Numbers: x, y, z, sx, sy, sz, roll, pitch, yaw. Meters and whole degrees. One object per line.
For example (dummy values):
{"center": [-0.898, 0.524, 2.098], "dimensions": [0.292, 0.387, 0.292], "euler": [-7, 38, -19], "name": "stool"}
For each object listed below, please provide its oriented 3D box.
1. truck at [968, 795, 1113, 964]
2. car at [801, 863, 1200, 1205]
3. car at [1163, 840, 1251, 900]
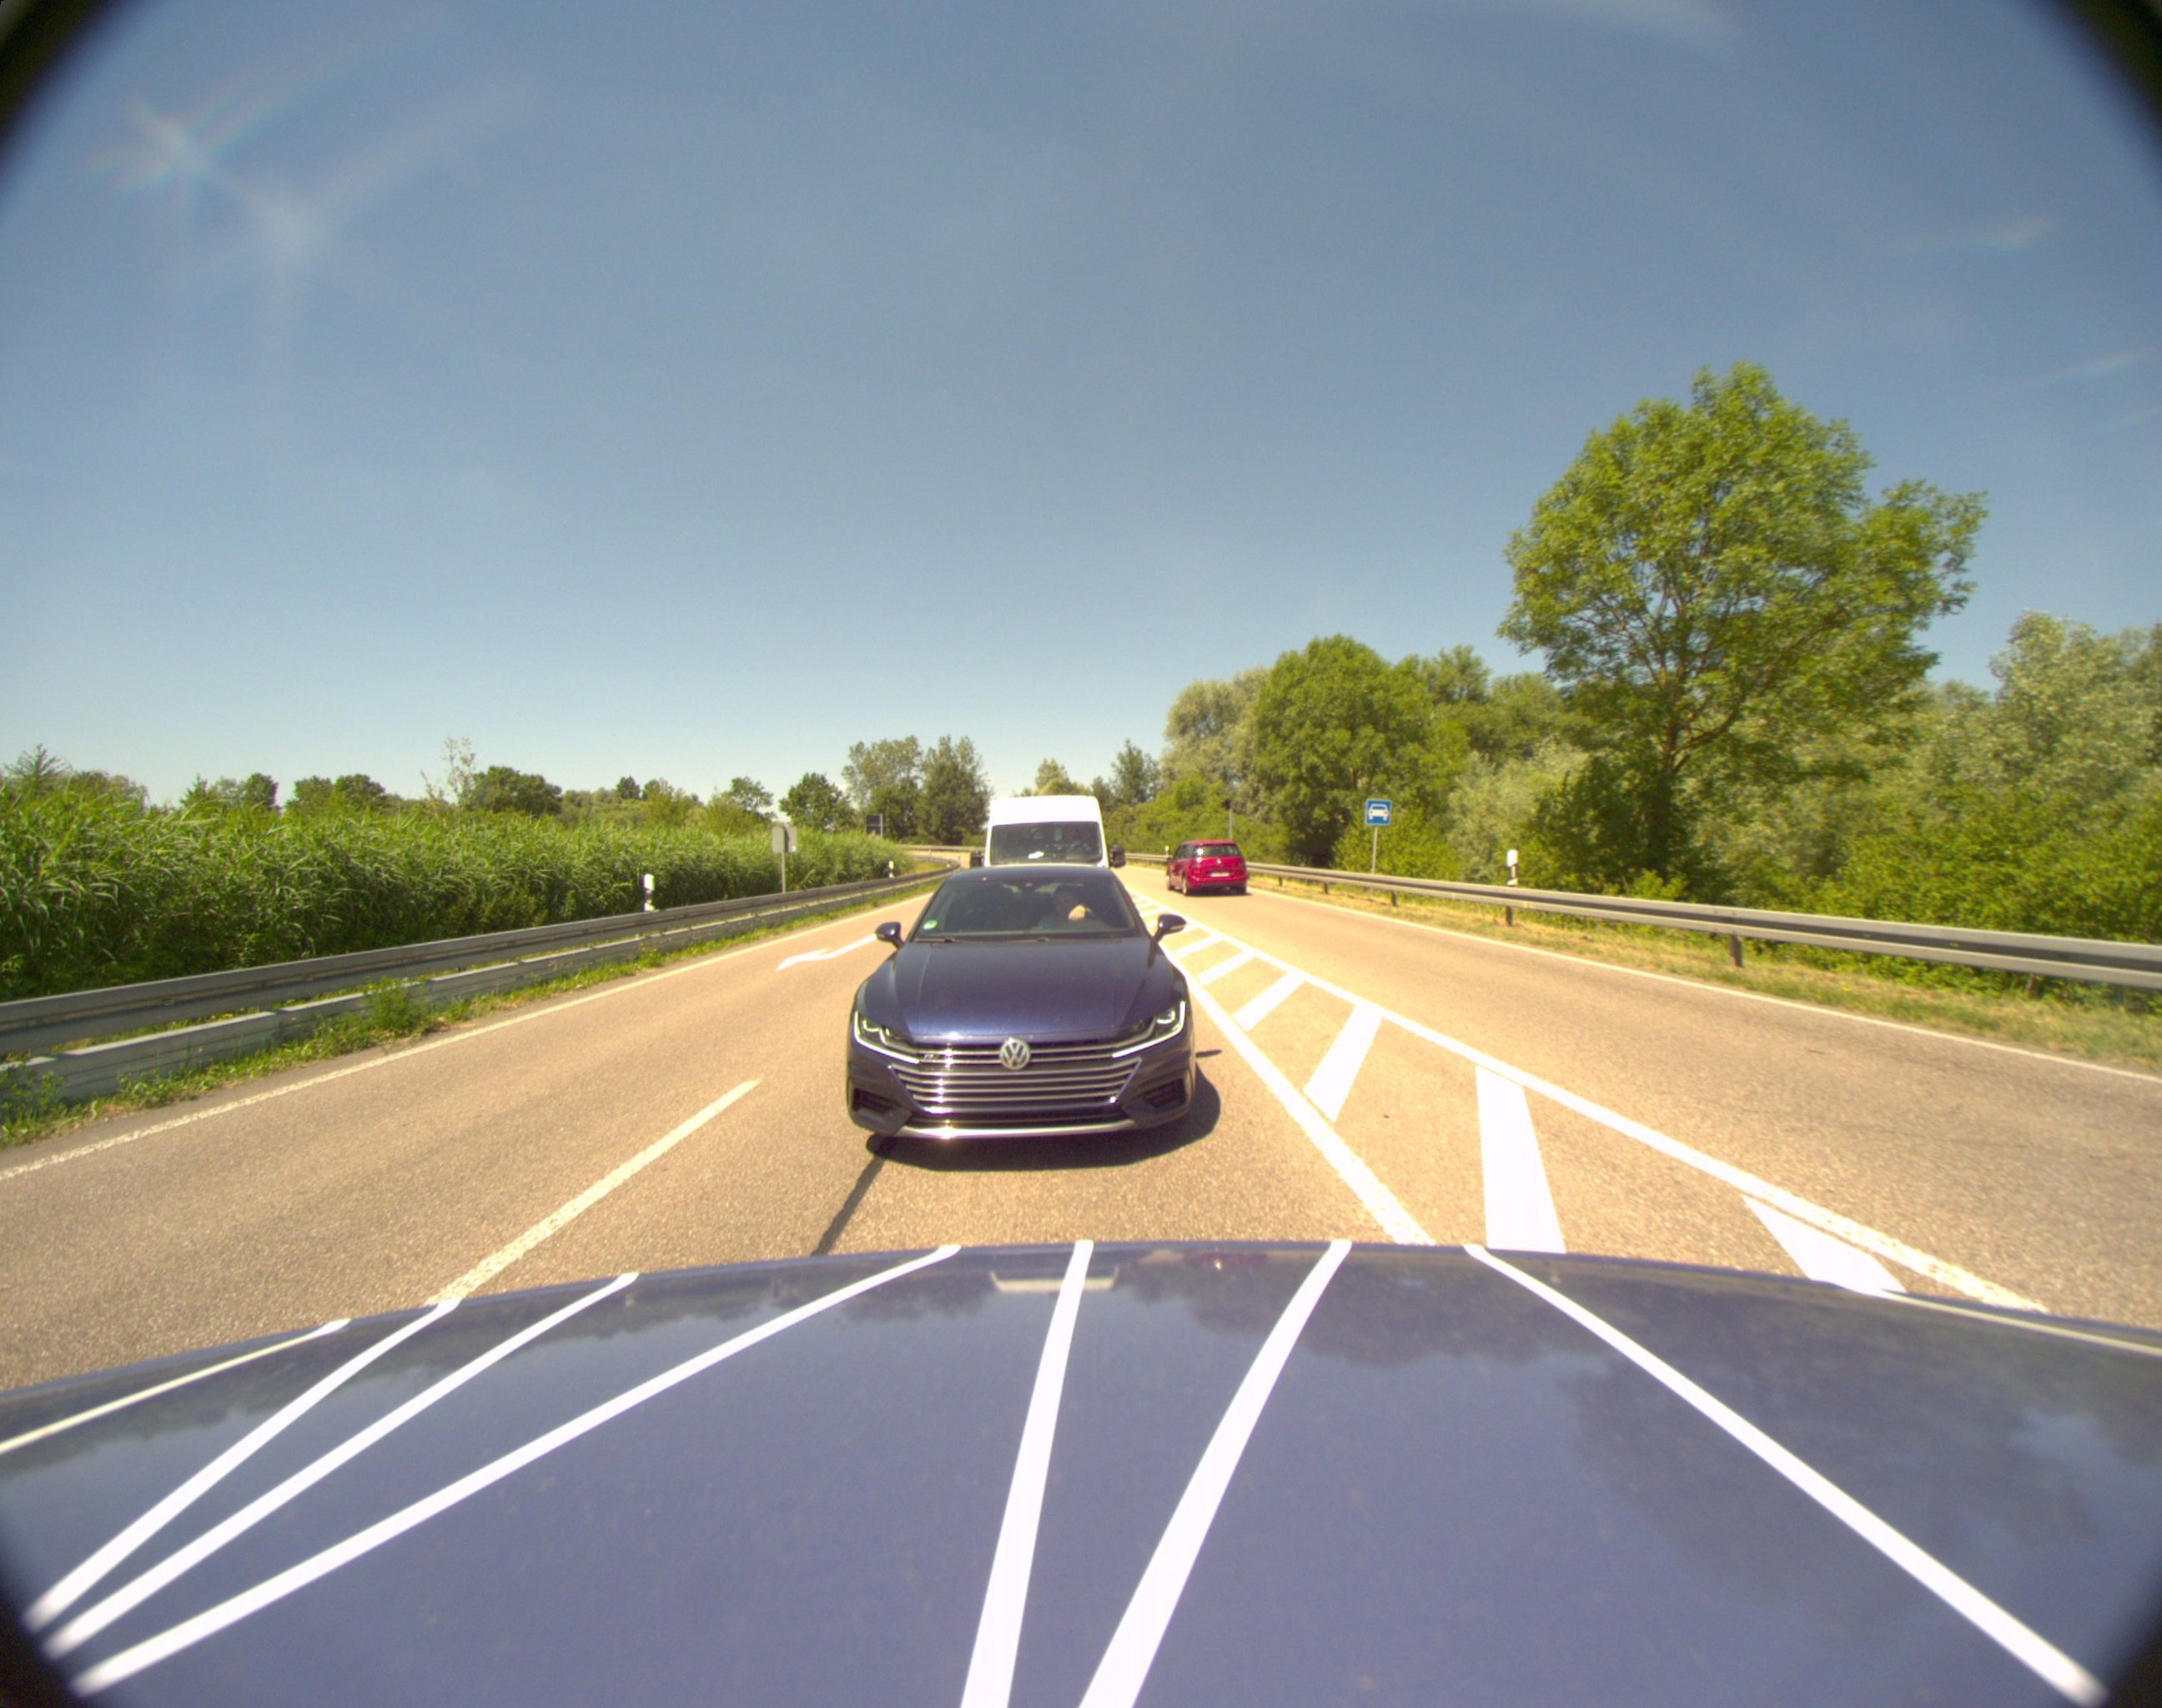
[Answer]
{"center": [-0.762, 0.337, 13.837], "dimensions": [2.011, 2.365, 5.909], "euler": [-2, 1, -4], "name": "truck"}
{"center": [-0.348, 0.874, 5.755], "dimensions": [1.819, 1.454, 4.415], "euler": [-2, 1, 1], "name": "car"}
{"center": [3.763, 0.409, 23.383], "dimensions": [1.741, 1.676, 4.207], "euler": [0, 1, -4], "name": "car"}
